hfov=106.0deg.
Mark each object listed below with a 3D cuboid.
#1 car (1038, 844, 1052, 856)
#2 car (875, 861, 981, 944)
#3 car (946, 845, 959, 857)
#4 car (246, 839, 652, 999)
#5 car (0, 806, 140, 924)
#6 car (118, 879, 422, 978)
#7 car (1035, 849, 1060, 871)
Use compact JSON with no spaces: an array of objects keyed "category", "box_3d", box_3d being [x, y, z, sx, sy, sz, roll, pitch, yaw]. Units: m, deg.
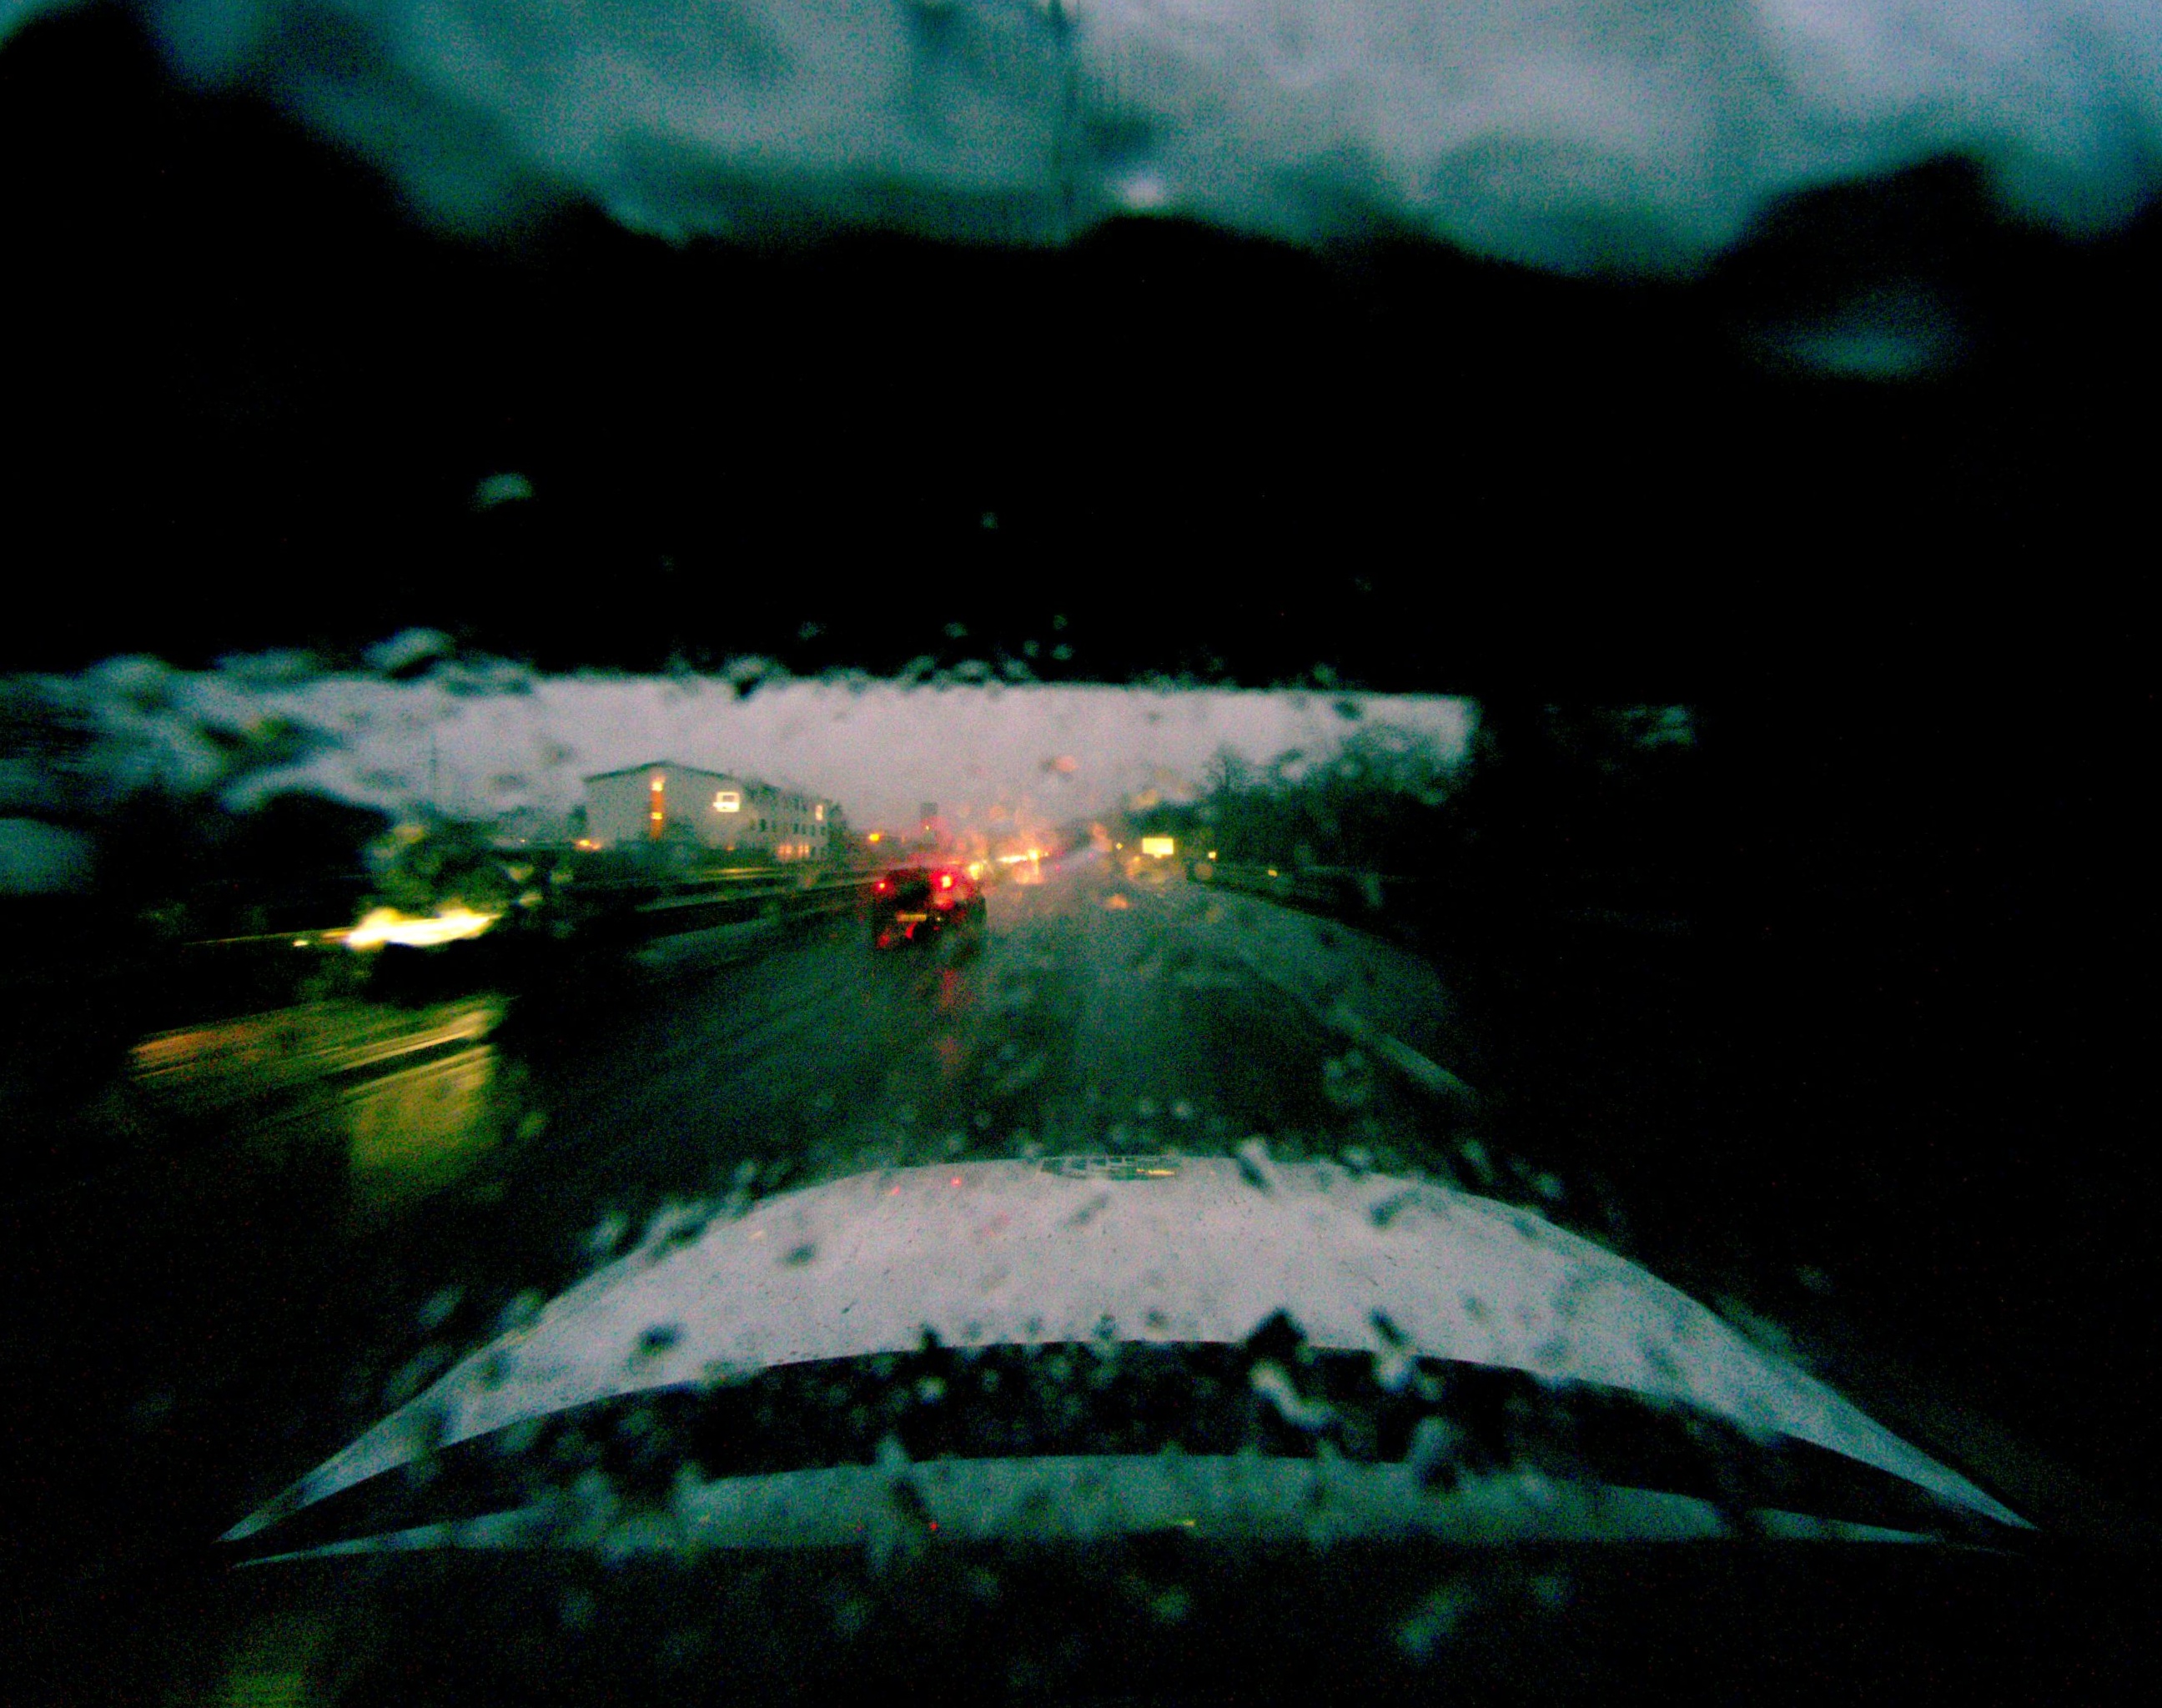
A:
[{"category":"car","box_3d":[-6.228,-0.729,141.260,2.120,2.120,3.568,1,1,-6]},{"category":"car","box_3d":[-2.994,0.899,16.545,1.523,1.415,3.477,2,0,-1]},{"category":"car","box_3d":[-20.939,-0.545,132.457,1.889,1.821,3.863,2,0,-8]},{"category":"car","box_3d":[-9.020,0.764,12.470,1.986,1.873,5.271,2,0,1]},{"category":"car","box_3d":[-26.245,0.222,19.349,2.180,2.772,4.584,2,0,5]},{"category":"car","box_3d":[-12.644,1.088,13.008,1.429,1.222,3.367,-1,0,1]},{"category":"car","box_3d":[-2.448,0.424,60.202,1.771,1.534,4.700,-2,0,-2]}]
